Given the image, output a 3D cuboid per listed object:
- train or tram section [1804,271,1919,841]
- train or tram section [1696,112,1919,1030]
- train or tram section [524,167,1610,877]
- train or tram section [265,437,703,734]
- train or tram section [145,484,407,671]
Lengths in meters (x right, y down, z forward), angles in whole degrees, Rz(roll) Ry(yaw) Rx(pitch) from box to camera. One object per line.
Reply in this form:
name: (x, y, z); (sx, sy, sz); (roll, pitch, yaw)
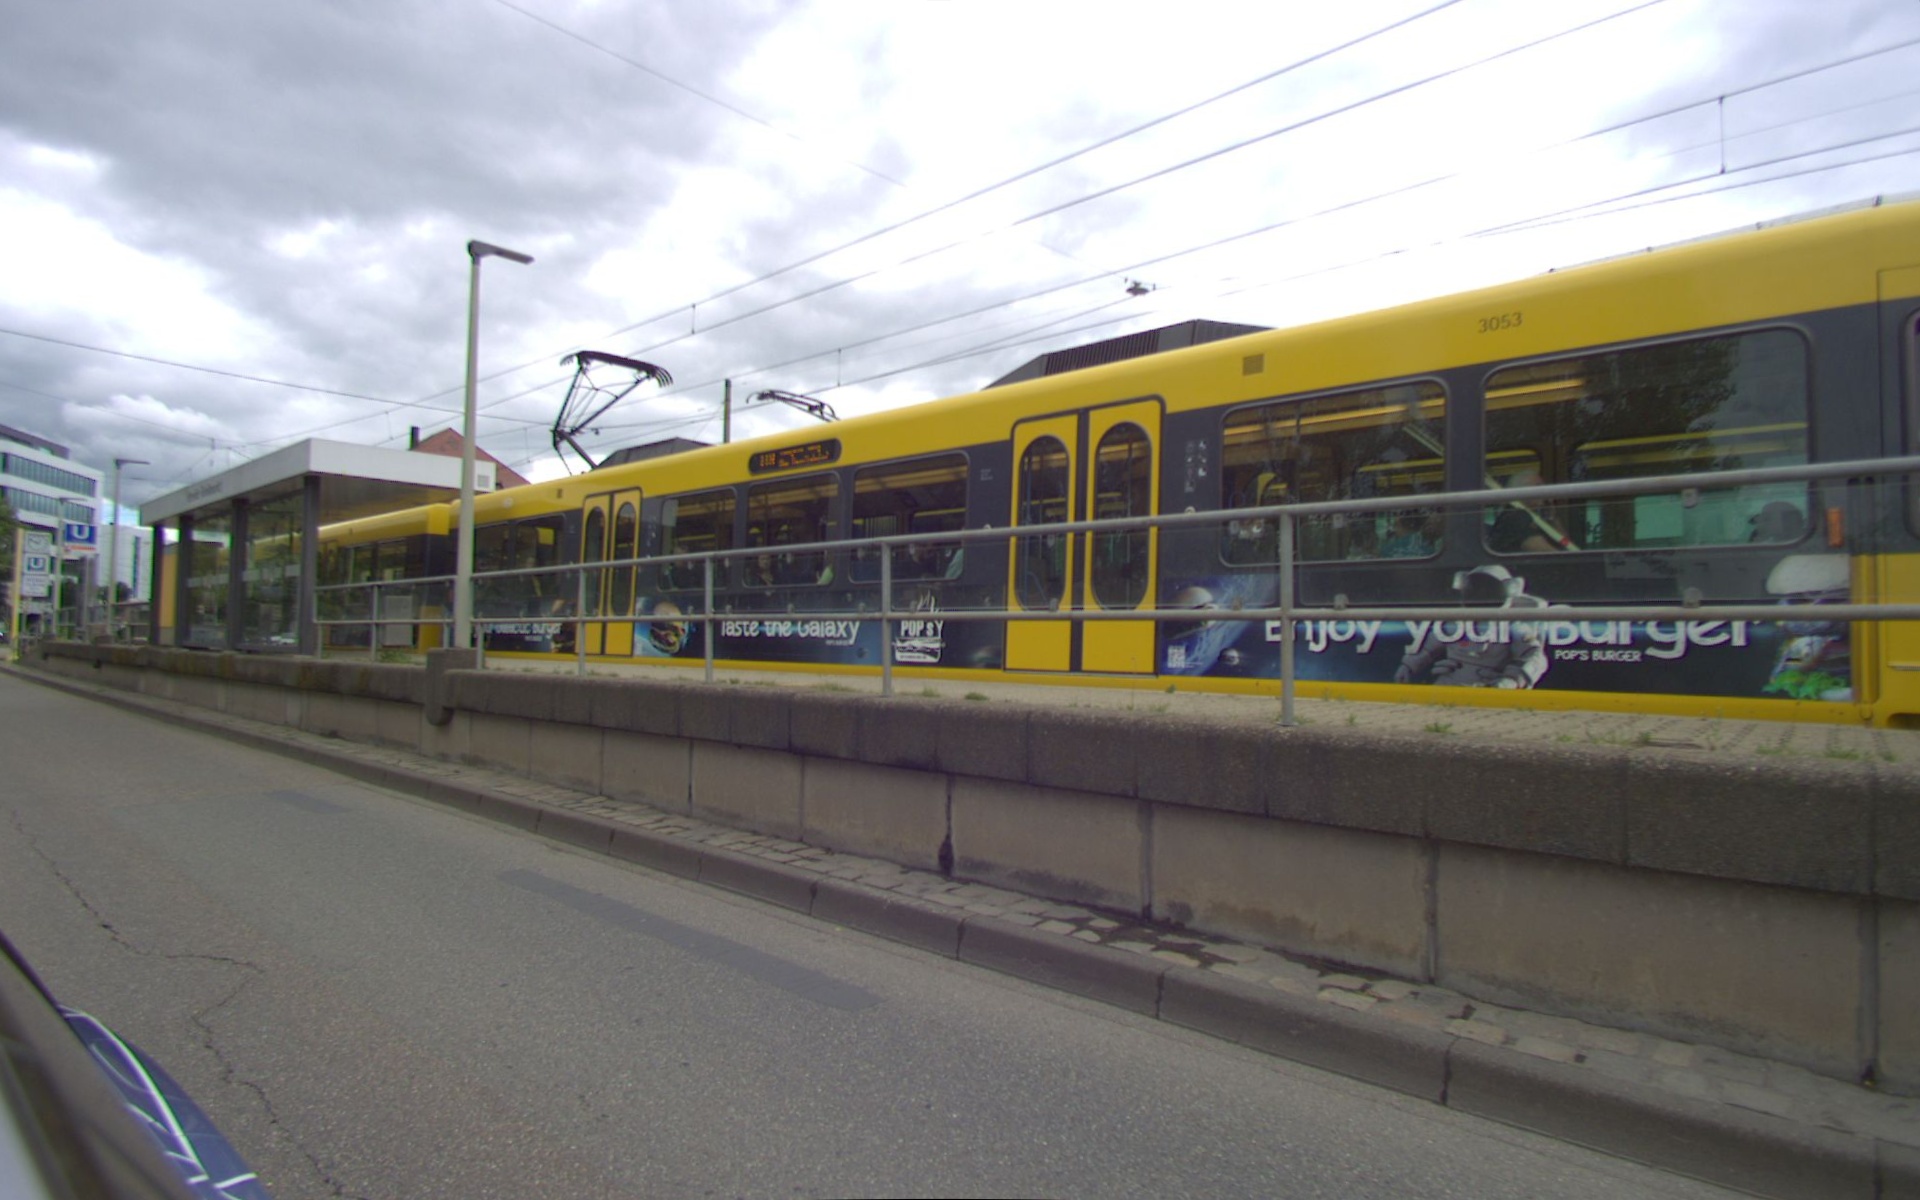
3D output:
train or tram section: (10.065, -0.329, 4.830); (9.176, 3.825, 1.972); (-1, -3, 42)
train or tram section: (8.486, -0.240, 2.742); (10.191, 4.096, 2.940); (-3, -4, 41)
train or tram section: (-0.450, -0.224, 10.635); (11.906, 3.997, 2.711); (-3, -4, 41)
train or tram section: (-9.348, 0.039, 18.591); (11.906, 3.997, 2.711); (-3, -4, 41)
train or tram section: (-18.300, -0.232, 26.542); (11.906, 3.997, 2.711); (-3, -4, 41)
